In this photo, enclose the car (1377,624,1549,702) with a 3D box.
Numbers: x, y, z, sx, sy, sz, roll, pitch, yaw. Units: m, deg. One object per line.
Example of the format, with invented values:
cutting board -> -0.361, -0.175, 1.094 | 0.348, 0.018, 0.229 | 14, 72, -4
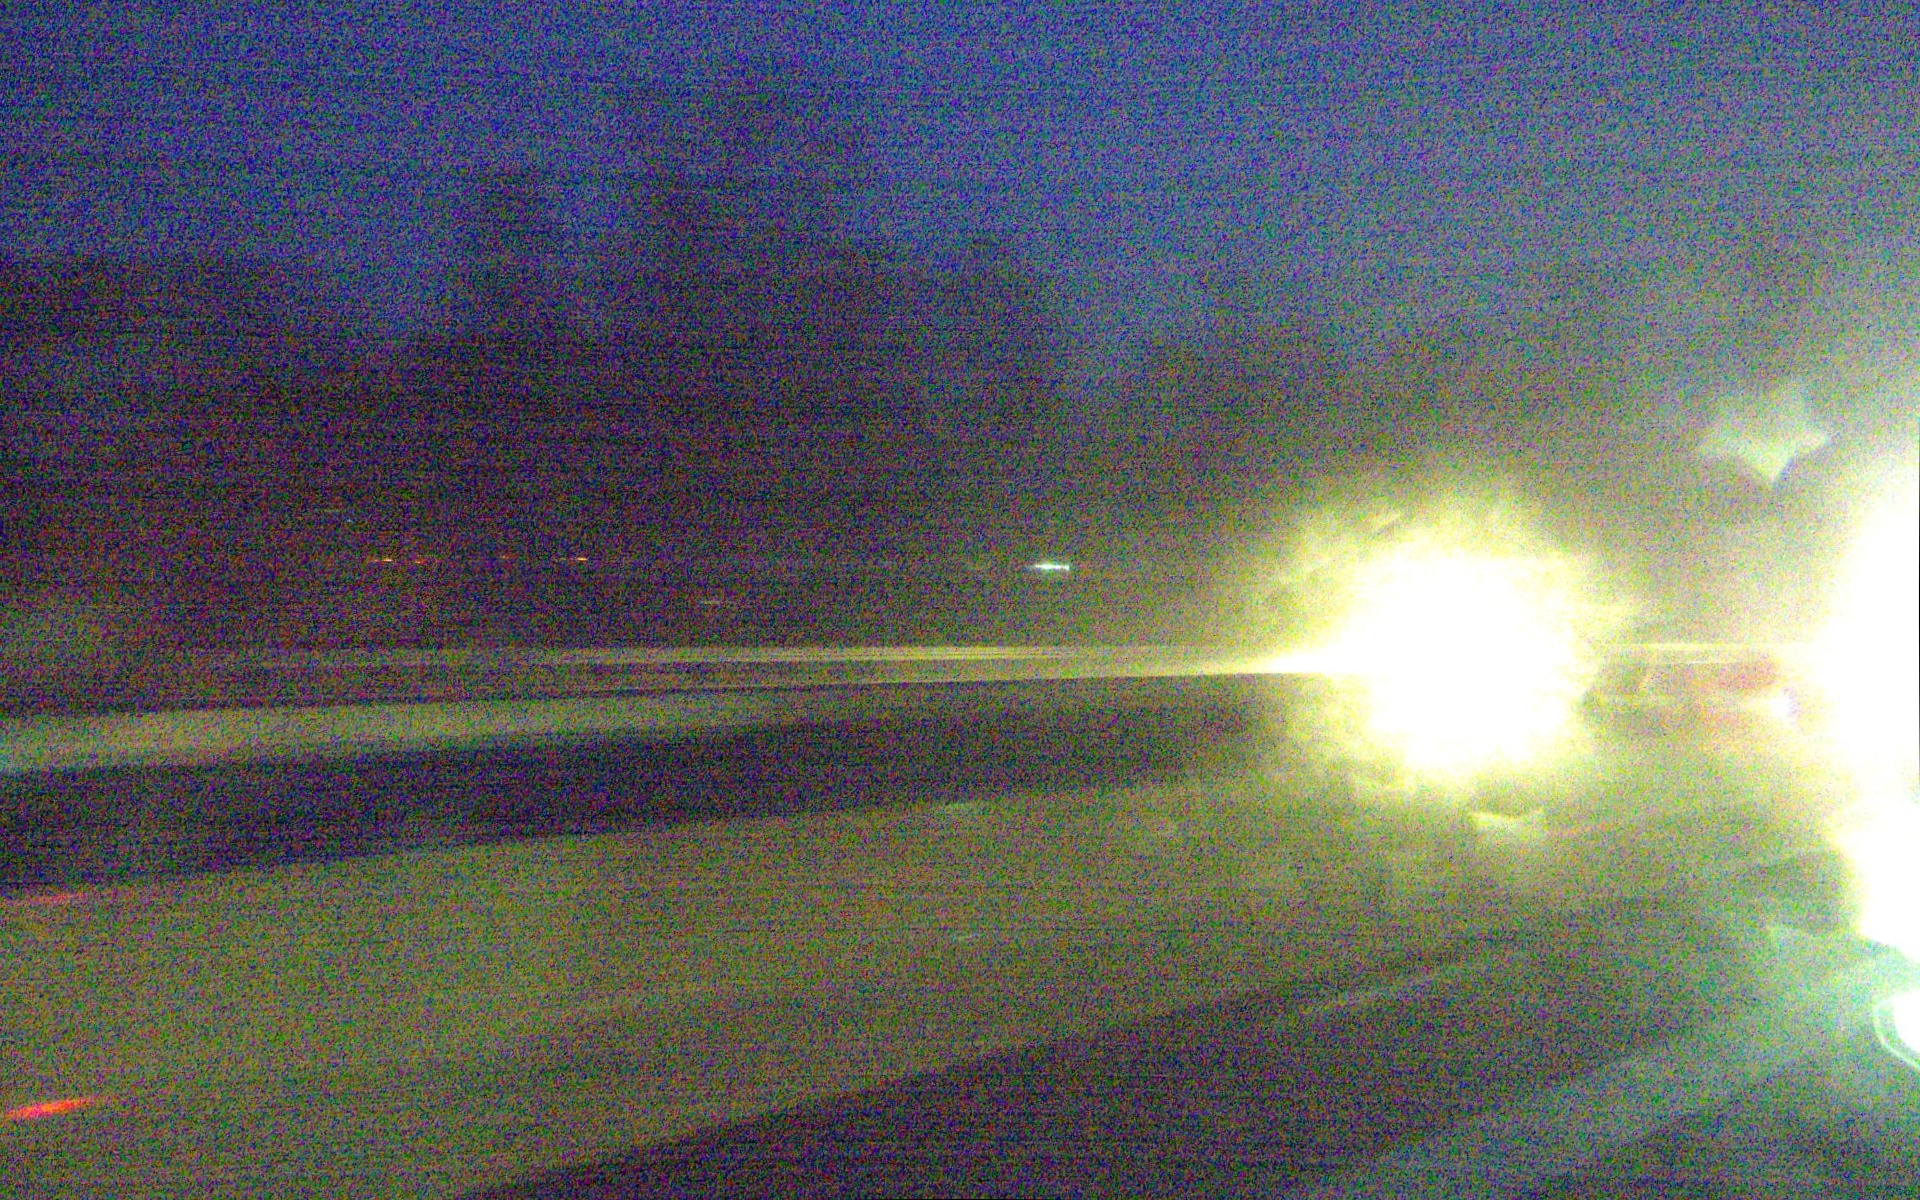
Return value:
car -> 13.212, 1.606, 26.342 | 4.239, 1.743, 1.983 | 2, 3, -31
